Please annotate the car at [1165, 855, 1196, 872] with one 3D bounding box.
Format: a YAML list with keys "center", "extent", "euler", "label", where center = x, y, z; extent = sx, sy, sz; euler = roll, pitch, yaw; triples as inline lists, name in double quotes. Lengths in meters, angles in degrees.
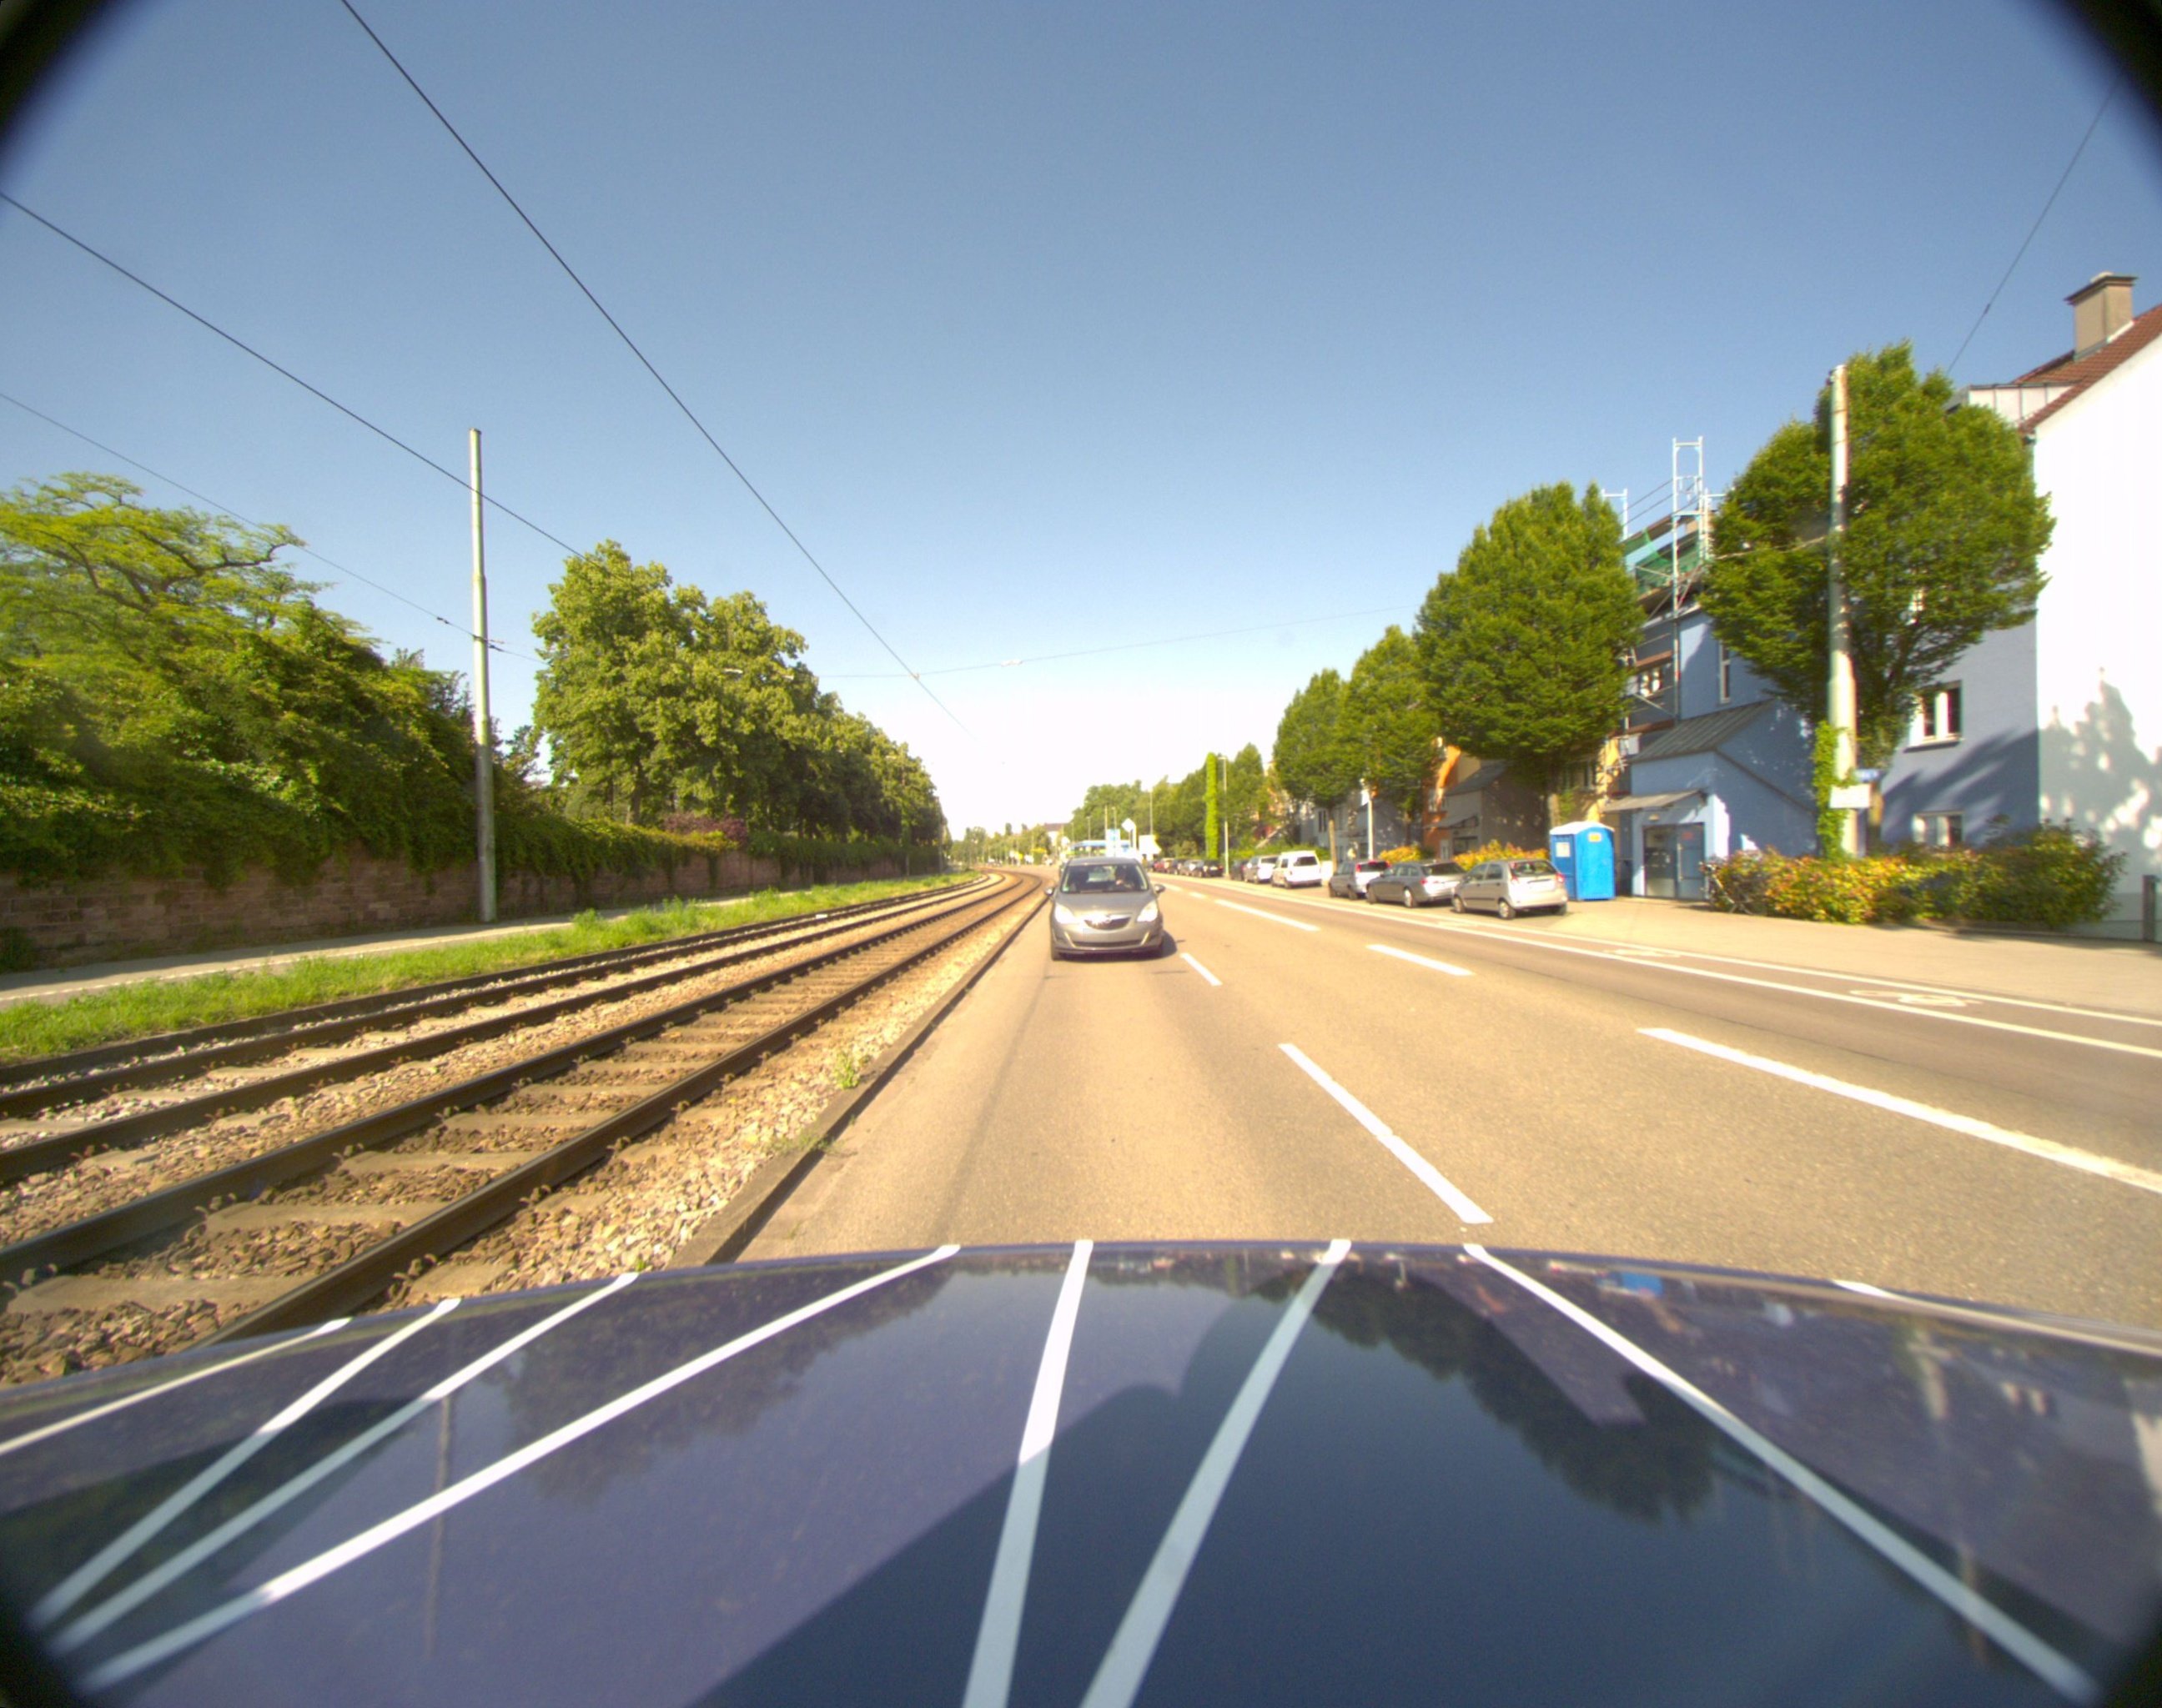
- center: [9.753, 0.897, 74.597]
  extent: [1.768, 1.564, 4.433]
  euler: [-2, 0, -10]
  label: "car"

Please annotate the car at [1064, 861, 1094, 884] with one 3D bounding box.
- center: [-0.144, 1.131, 48.465]
  extent: [1.579, 1.306, 3.998]
  euler: [-3, 0, -4]
  label: "car"

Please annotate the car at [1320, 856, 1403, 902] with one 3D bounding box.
- center: [11.078, 0.919, 30.325]
  extent: [1.767, 1.530, 3.981]
  euler: [-6, 0, 1]
  label: "car"

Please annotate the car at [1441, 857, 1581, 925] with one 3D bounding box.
- center: [11.226, 0.892, 20.115]
  extent: [1.605, 1.486, 3.509]
  euler: [-5, 0, 0]
  label: "car"

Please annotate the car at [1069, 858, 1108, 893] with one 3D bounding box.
- center: [0.308, 0.981, 36.464]
  extent: [1.710, 1.487, 3.999]
  euler: [-3, 0, -1]
  label: "car"

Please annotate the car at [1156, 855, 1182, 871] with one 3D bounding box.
- center: [9.272, 0.944, 80.463]
  extent: [1.768, 1.565, 4.159]
  euler: [-1, 1, -6]
  label: "car"

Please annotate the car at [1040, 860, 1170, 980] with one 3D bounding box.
- center: [0.391, 0.922, 12.270]
  extent: [1.730, 1.574, 3.764]
  euler: [-2, 0, 2]
  label: "car"

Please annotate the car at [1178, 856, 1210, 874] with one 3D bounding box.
- center: [10.288, 0.953, 69.258]
  extent: [1.717, 1.463, 4.841]
  euler: [-3, 1, -5]
  label: "car"

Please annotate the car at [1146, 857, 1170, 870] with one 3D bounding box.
- center: [8.646, 1.090, 85.763]
  extent: [1.657, 1.416, 4.710]
  euler: [-1, 0, -7]
  label: "car"

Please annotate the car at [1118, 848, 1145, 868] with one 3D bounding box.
- center: [6.634, 0.524, 100.582]
  extent: [2.159, 2.443, 6.179]
  euler: [-3, 0, -9]
  label: "car"

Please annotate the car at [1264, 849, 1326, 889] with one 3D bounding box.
- center: [11.304, 0.751, 40.434]
  extent: [1.767, 1.835, 4.579]
  euler: [-6, 0, -1]
  label: "car"

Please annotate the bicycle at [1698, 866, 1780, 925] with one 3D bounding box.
- center: [14.311, 0.874, 16.579]
  extent: [0.444, 1.147, 1.785]
  euler: [-1, 1, 7]
  label: "bicycle"

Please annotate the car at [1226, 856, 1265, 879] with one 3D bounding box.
- center: [11.238, 0.878, 52.048]
  extent: [1.620, 1.457, 4.057]
  euler: [-3, 0, -2]
  label: "car"

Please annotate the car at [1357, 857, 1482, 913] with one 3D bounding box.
- center: [11.042, 0.934, 25.193]
  extent: [1.753, 1.502, 4.754]
  euler: [-5, 0, -2]
  label: "car"

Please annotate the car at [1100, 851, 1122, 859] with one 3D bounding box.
- center: [7.401, 0.256, 187.960]
  extent: [5.086, 1.929, 1.856]
  euler: [-1, 0, -5]
  label: "car"

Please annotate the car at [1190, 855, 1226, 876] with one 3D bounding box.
- center: [10.520, 0.926, 63.378]
  extent: [1.871, 1.535, 4.908]
  euler: [-3, 0, -3]
  label: "car"

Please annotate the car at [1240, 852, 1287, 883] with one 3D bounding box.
- center: [11.126, 0.770, 46.659]
  extent: [1.672, 1.691, 4.824]
  euler: [-3, 0, 0]
  label: "car"

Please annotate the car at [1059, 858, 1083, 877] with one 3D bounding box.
- center: [-0.948, 1.197, 67.903]
  extent: [1.711, 1.581, 3.998]
  euler: [-3, 0, -6]
  label: "car"
